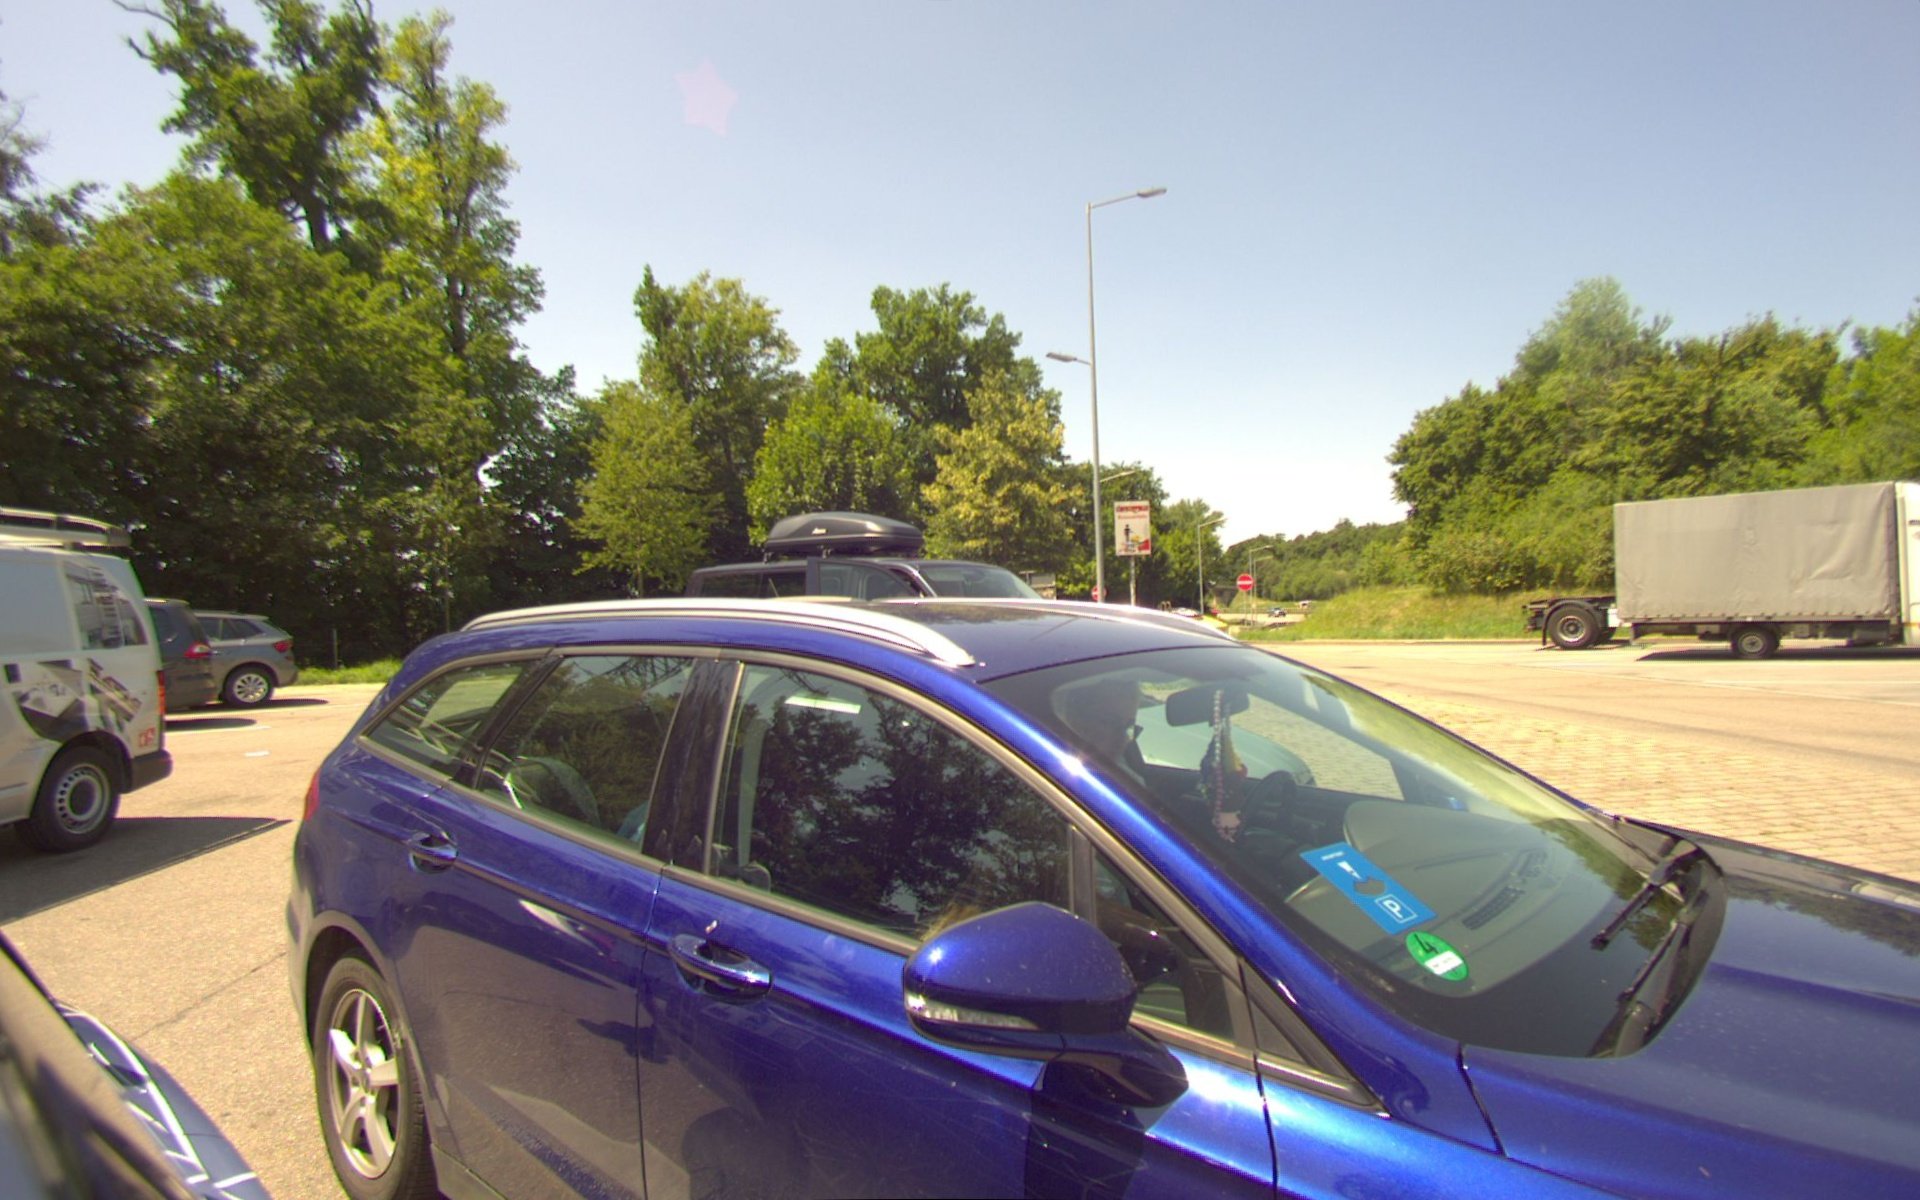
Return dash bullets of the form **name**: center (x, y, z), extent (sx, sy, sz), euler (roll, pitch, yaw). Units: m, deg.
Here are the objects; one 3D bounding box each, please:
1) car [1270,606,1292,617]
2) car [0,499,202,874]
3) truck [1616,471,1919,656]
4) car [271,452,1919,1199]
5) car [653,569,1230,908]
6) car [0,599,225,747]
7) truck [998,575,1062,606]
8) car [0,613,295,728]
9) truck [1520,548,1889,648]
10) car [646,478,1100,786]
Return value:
- **car**: center (52.316, 1.824, 165.125), extent (1.853, 1.742, 4.006), euler (-1, 0, -7)
- **car**: center (-6.259, 0.476, 4.671), extent (1.816, 2.121, 5.440), euler (0, -1, -5)
- **truck**: center (16.643, -0.617, 18.741), extent (7.253, 3.175, 2.148), euler (-2, -1, 41)
- **car**: center (0.253, 0.648, 2.085), extent (4.411, 1.429, 1.721), euler (-2, -1, 41)
- **car**: center (-0.254, 0.597, 5.626), extent (3.112, 1.370, 1.326), euler (-2, -1, 41)
- **car**: center (-11.624, 0.873, 12.577), extent (1.755, 1.701, 3.798), euler (-2, -1, 45)
- **truck**: center (3.378, -0.453, 48.782), extent (2.866, 1.386, 1.158), euler (-2, -1, 22)
- **car**: center (-12.559, 0.998, 15.689), extent (3.535, 1.513, 1.708), euler (-1, 0, -42)
- **truck**: center (16.934, 0.051, 23.440), extent (6.613, 2.029, 1.973), euler (-2, -1, 41)
- **car**: center (-0.926, 0.307, 9.586), extent (4.076, 2.336, 1.767), euler (-2, -1, 35)
